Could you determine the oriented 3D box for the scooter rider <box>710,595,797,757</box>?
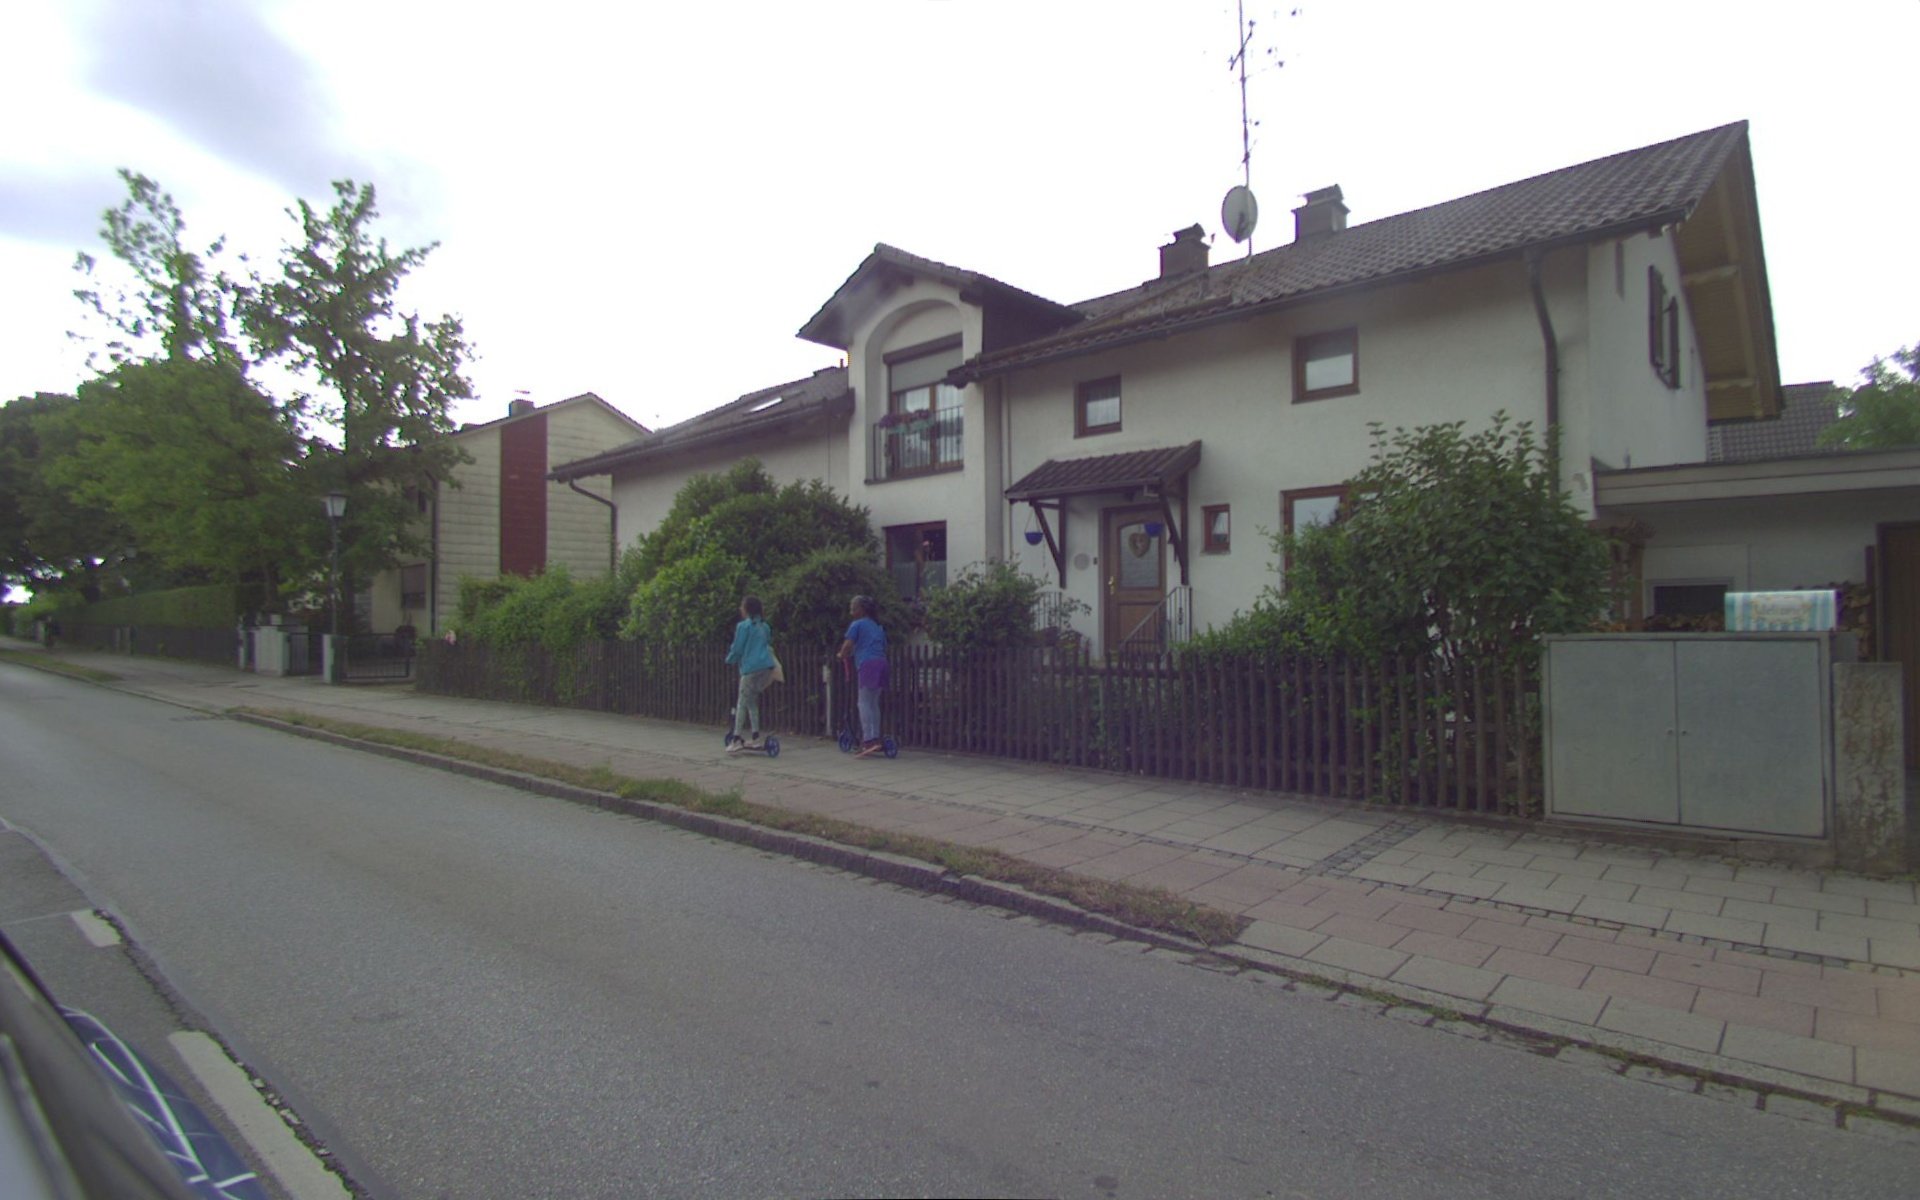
[{"bbox_3d":[-2.004,0.713,9.828,0.716,1.501,0.497,-2,-1,42],"label":"scooter rider"}]

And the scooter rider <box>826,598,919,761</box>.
[{"bbox_3d":[-0.835,0.729,9.653,0.580,1.484,0.655,-2,-1,42],"label":"scooter rider"}]

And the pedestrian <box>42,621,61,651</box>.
[{"bbox_3d":[-44.473,1.779,49.528,0.563,1.448,0.622,-1,-2,41],"label":"pedestrian"}]

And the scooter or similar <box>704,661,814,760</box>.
[{"bbox_3d":[-1.959,1.045,9.802,1.061,0.856,0.516,-1,-1,42],"label":"scooter or similar"}]

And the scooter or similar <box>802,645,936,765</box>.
[{"bbox_3d":[-0.883,0.968,9.695,1.178,1.045,0.654,-2,-2,43],"label":"scooter or similar"}]
